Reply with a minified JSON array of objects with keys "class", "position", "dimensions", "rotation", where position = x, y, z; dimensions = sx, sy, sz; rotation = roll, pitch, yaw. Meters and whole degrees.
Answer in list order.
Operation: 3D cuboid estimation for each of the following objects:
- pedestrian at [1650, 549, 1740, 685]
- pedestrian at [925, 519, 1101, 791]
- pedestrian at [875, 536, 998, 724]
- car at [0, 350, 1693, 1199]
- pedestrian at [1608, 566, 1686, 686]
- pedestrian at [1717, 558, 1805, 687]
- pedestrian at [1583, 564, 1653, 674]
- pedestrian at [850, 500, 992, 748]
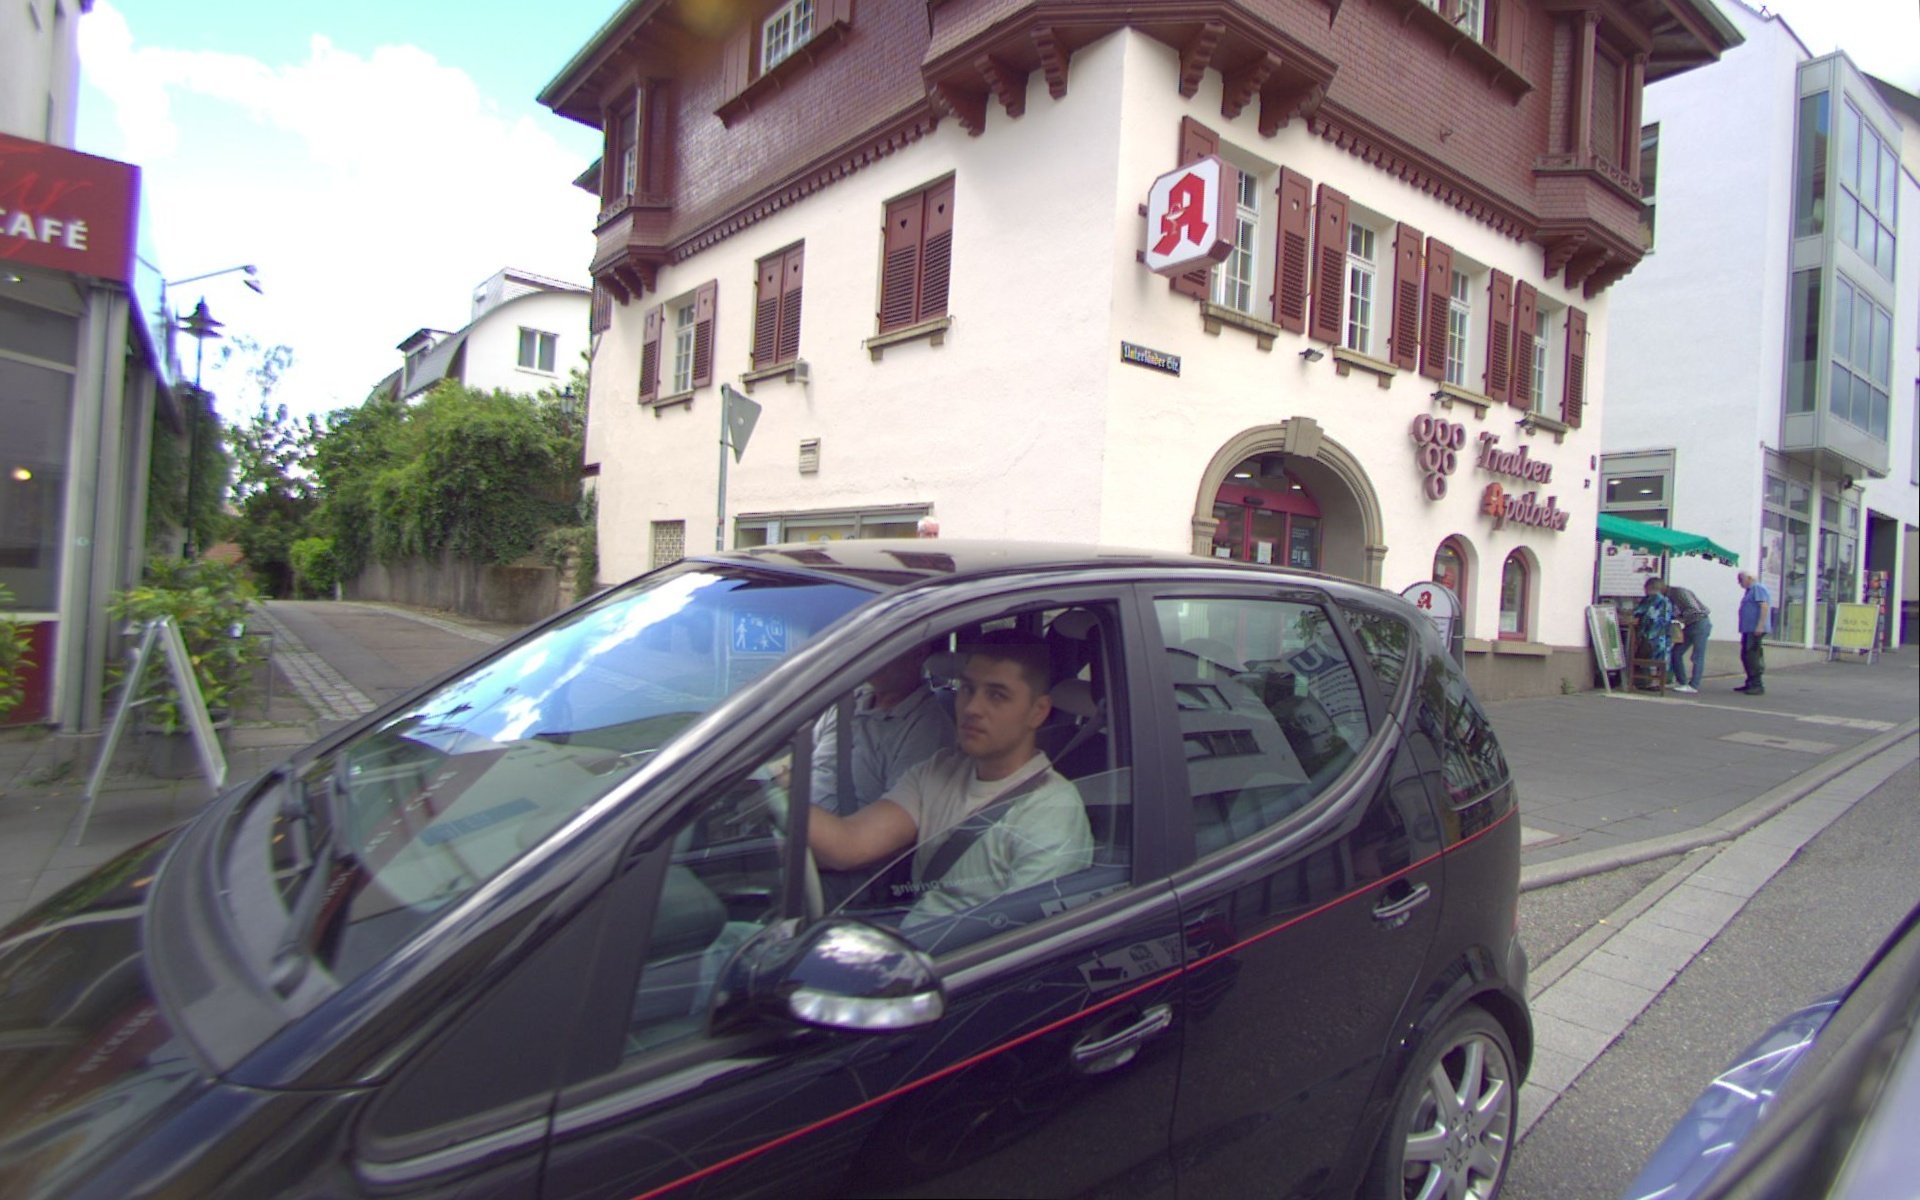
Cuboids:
[{"class":"pedestrian","position":[10.450,0.220,14.410],"dimensions":[0.691,1.880,0.779],"rotation":[1,2,7]},{"class":"pedestrian","position":[0.339,0.315,6.718],"dimensions":[0.852,1.665,0.776],"rotation":[0,3,-29]},{"class":"pedestrian","position":[-0.220,0.230,8.926],"dimensions":[0.791,1.549,0.728],"rotation":[0,4,-29]},{"class":"car","position":[-0.093,0.535,2.427],"dimensions":[3.879,1.574,1.810],"rotation":[-1,2,-35]},{"class":"pedestrian","position":[9.628,0.345,14.190],"dimensions":[0.688,1.632,0.626],"rotation":[0,2,-30]},{"class":"pedestrian","position":[11.368,0.301,14.372],"dimensions":[0.613,1.788,0.704],"rotation":[0,1,-10]},{"class":"pedestrian","position":[10.061,0.278,15.479],"dimensions":[0.688,1.632,0.626],"rotation":[0,2,-30]},{"class":"pedestrian","position":[-0.312,0.156,7.859],"dimensions":[0.802,1.791,0.777],"rotation":[0,2,-34]}]
